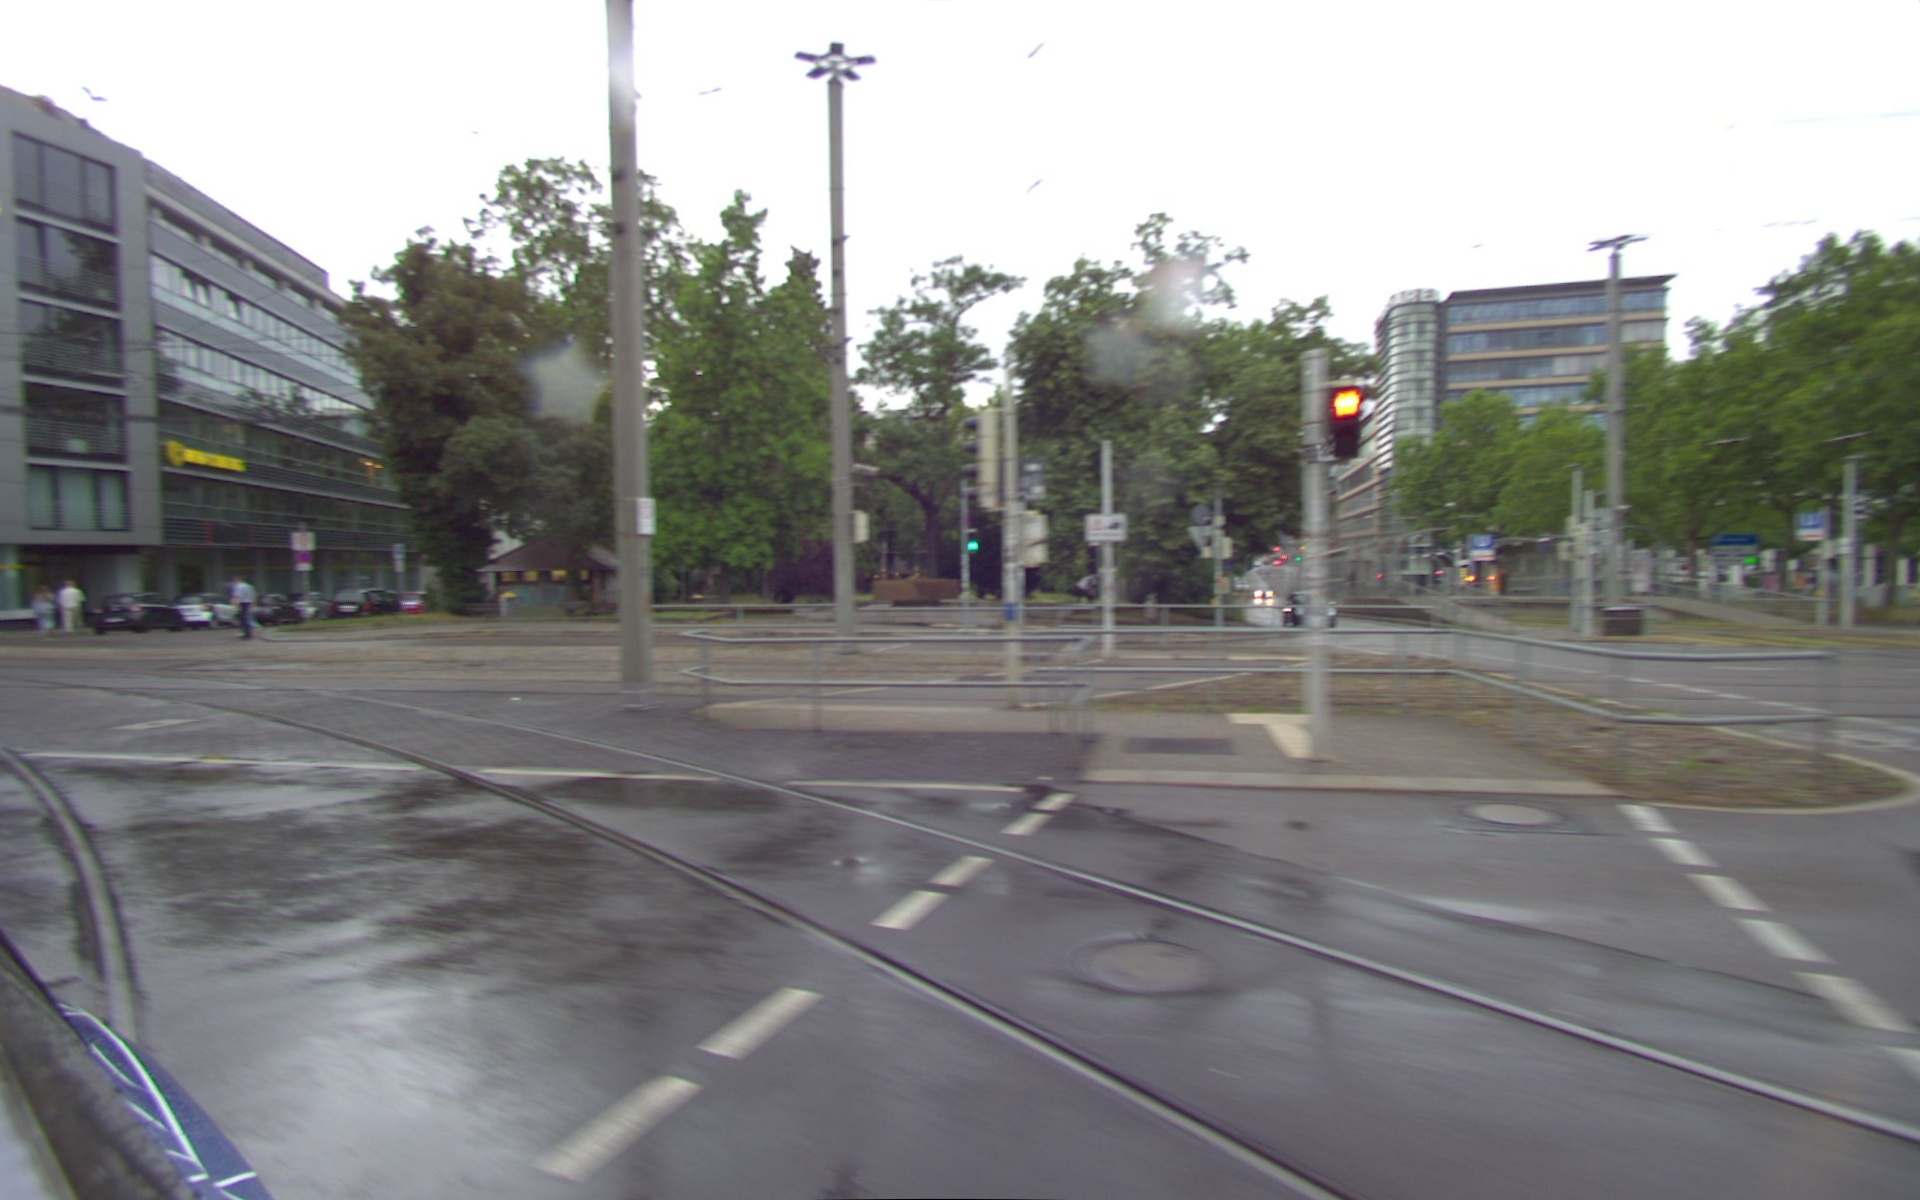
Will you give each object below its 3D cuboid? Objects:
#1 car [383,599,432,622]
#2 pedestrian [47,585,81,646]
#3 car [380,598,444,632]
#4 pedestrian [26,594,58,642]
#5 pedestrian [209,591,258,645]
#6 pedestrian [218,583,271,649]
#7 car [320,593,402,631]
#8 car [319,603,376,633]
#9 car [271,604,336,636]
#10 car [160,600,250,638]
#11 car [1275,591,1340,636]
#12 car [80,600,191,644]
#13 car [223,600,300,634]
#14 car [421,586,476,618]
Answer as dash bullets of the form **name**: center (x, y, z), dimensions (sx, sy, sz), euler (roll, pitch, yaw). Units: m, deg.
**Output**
- **car**: center (-35.958, 0.649, 65.958), dimensions (1.675, 1.459, 3.547), euler (-1, 0, -9)
- **pedestrian**: center (-31.050, 0.527, 35.068), dimensions (0.606, 2.028, 0.665), euler (-3, 3, -25)
- **car**: center (-25.199, 0.652, 46.628), dimensions (1.674, 1.459, 3.549), euler (-1, 0, -12)
- **pedestrian**: center (-31.937, 0.610, 35.212), dimensions (0.633, 1.605, 0.583), euler (0, 4, 31)
- **pedestrian**: center (-22.941, 0.543, 31.994), dimensions (0.898, 1.605, 1.006), euler (-2, 3, -16)
- **pedestrian**: center (-21.367, 0.451, 30.244), dimensions (0.986, 1.876, 0.916), euler (-2, 3, -17)
- **car**: center (-24.317, 0.463, 41.220), dimensions (1.675, 1.459, 3.547), euler (-1, 0, -9)
- **car**: center (-33.919, 0.964, 56.145), dimensions (1.674, 1.566, 3.549), euler (-1, 0, -14)
- **car**: center (-33.572, 0.993, 51.826), dimensions (1.674, 1.566, 3.549), euler (-1, 0, -13)
- **car**: center (-31.612, 0.761, 42.479), dimensions (1.674, 1.465, 3.751), euler (-1, 0, -13)
- **car**: center (14.039, 0.502, 41.103), dimensions (1.979, 1.719, 3.985), euler (-1, 0, 12)
- **car**: center (-31.139, 0.782, 38.356), dimensions (1.675, 1.562, 3.750), euler (-1, 0, -11)
- **car**: center (-32.314, 0.757, 46.939), dimensions (1.674, 1.465, 3.751), euler (-1, 0, -13)
- **car**: center (-37.557, 0.149, 74.459), dimensions (2.295, 2.237, 5.081), euler (-1, 0, -11)
